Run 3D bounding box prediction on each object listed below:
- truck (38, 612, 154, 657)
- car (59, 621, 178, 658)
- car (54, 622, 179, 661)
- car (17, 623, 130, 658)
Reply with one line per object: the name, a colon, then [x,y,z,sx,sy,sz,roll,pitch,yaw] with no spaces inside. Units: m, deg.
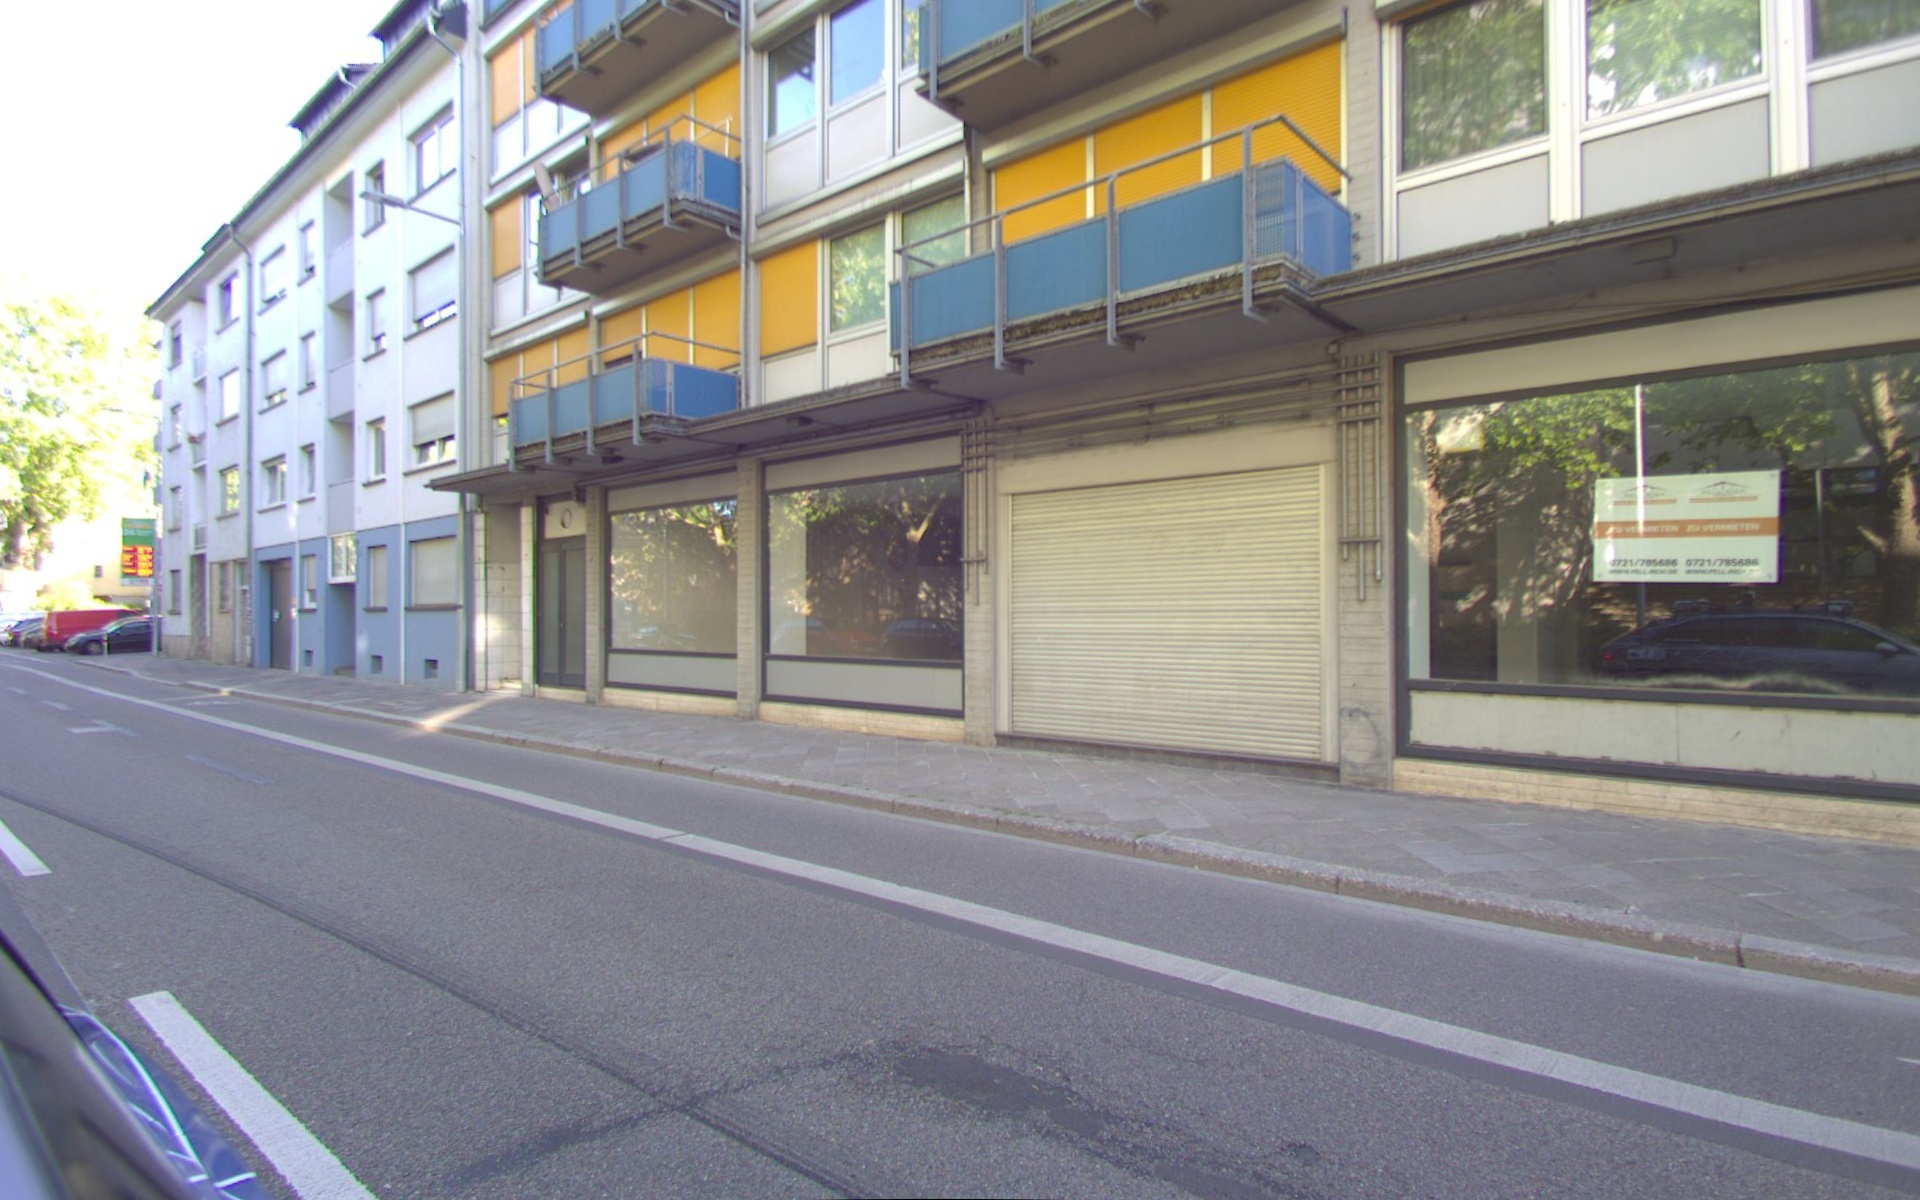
truck: [-40.508,1.577,47.499,1.761,1.951,3.944,-1,0,42]
car: [-38.117,1.764,45.907,1.761,1.514,3.944,-1,0,42]
car: [-36.636,1.768,44.020,1.761,1.468,3.944,-1,0,42]
car: [-42.918,1.909,49.046,1.761,1.514,3.944,-1,0,42]
